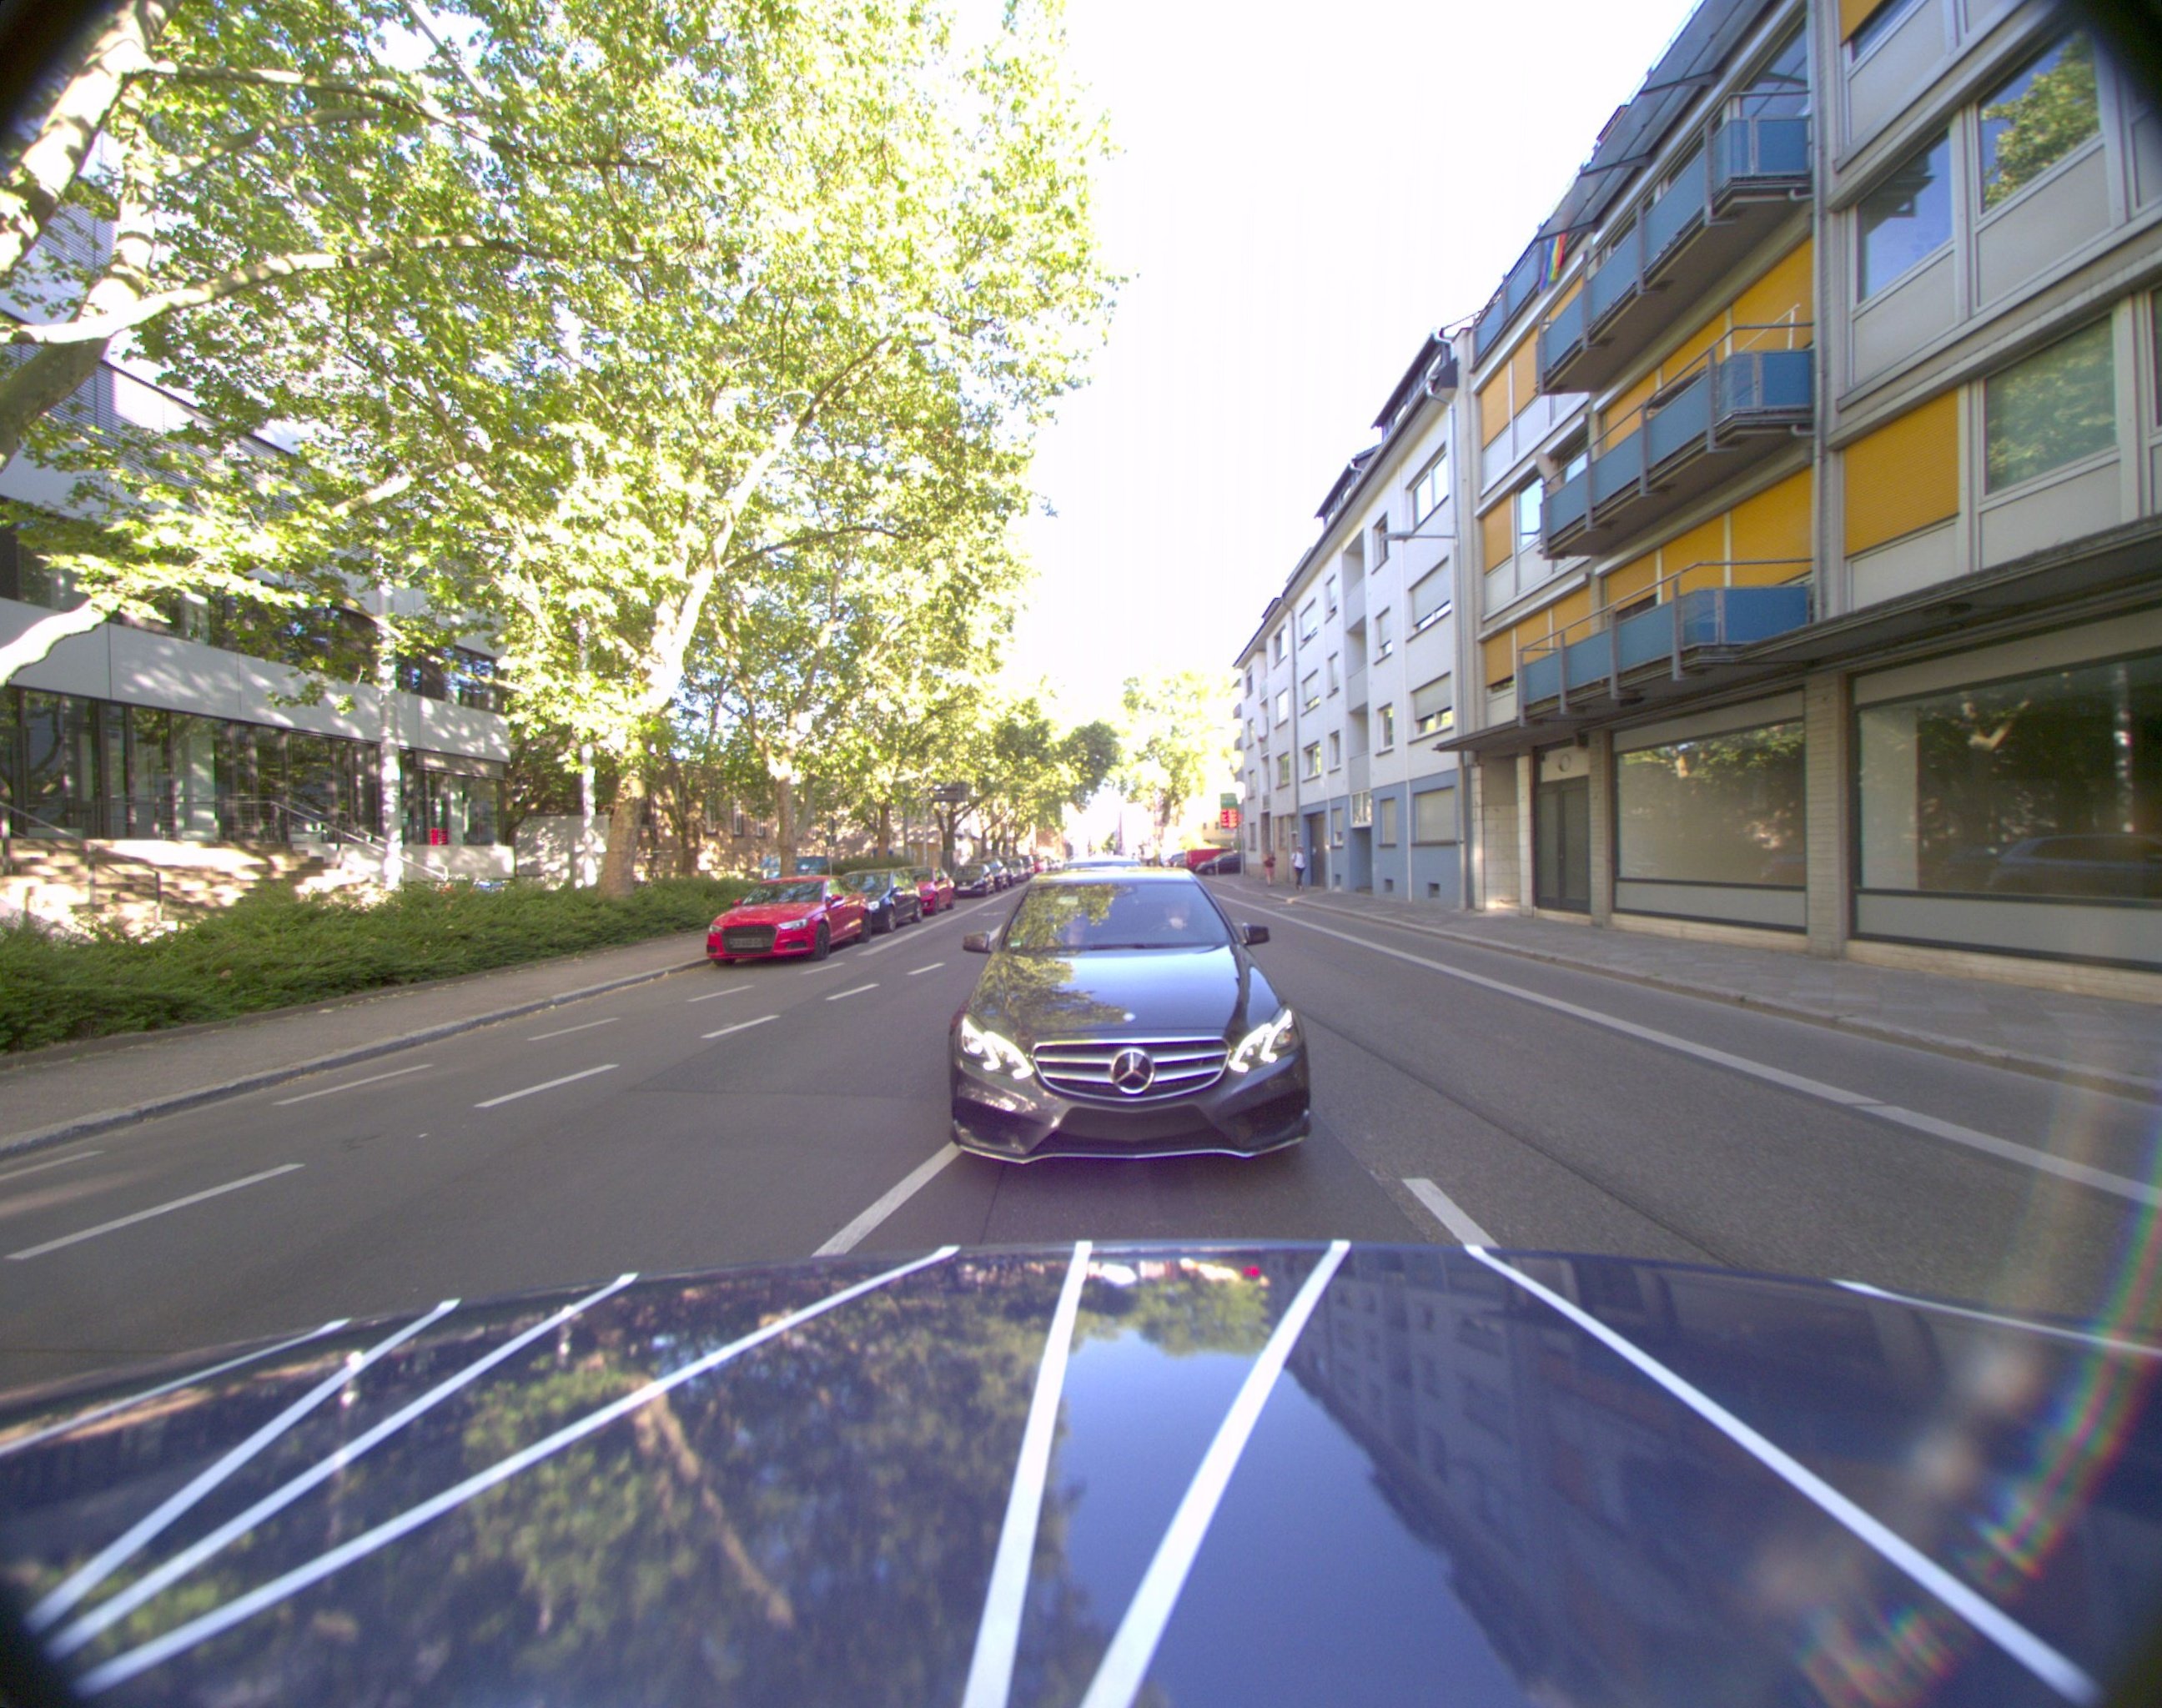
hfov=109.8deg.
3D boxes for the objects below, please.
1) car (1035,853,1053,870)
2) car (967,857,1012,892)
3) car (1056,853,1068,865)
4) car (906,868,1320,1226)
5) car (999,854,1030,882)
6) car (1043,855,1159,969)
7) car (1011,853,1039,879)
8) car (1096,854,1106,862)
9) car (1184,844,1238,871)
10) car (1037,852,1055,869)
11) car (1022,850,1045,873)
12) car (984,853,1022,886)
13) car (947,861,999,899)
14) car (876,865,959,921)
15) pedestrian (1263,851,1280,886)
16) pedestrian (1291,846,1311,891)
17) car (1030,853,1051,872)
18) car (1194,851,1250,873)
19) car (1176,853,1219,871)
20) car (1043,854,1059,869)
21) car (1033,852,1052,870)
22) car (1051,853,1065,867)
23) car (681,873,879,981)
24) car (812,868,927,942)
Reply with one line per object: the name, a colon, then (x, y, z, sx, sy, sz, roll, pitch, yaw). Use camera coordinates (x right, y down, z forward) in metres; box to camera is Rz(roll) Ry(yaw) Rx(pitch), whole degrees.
car: (-3.933, 0.766, 82.069, 1.635, 1.713, 3.673, -3, 0, 1)
car: (-4.525, 0.975, 38.057, 1.635, 1.578, 3.845, -3, 0, 1)
car: (-2.738, 0.723, 109.863, 1.635, 1.713, 3.673, -3, 0, 1)
car: (0.174, 0.919, 5.512, 1.804, 1.455, 4.125, -3, 0, 1)
car: (-4.411, 0.902, 50.715, 1.635, 1.644, 3.845, -3, 0, 1)
car: (0.326, 0.883, 13.559, 1.680, 1.622, 4.125, -3, 0, 1)
car: (-4.069, 0.834, 55.564, 1.635, 1.799, 3.673, -3, 0, 1)
car: (3.886, 0.756, 150.806, 1.853, 1.455, 4.099, -3, 0, 1)
car: (10.235, 0.264, 59.952, 3.927, 1.912, 1.636, -3, 0, 1)
car: (-3.945, 0.724, 86.129, 1.635, 1.713, 3.673, -3, 0, 1)
car: (-4.129, 0.646, 66.118, 1.635, 1.878, 3.673, -3, 0, 1)
car: (-4.498, 0.860, 44.222, 1.635, 1.795, 3.845, -3, 0, 1)
car: (-4.677, 1.098, 33.280, 1.635, 1.455, 3.740, -3, 0, 1)
car: (-4.997, 1.149, 23.685, 1.635, 1.455, 3.740, -3, 0, 1)
pedestrian: (8.527, 0.636, 34.036, 0.569, 1.509, 0.343, -3, 1, 1)
pedestrian: (8.585, 0.556, 29.647, 0.569, 1.716, 0.343, -3, 1, 1)
car: (-3.796, 0.782, 71.649, 1.635, 1.713, 3.673, -3, 0, 1)
car: (10.116, 0.561, 54.726, 3.670, 1.403, 1.636, -3, 0, 1)
car: (9.571, 0.642, 62.540, 3.325, 1.241, 1.295, -3, 0, 1)
car: (-3.629, 0.933, 92.543, 1.635, 1.713, 3.673, -3, 0, 1)
car: (-3.978, 0.722, 78.251, 1.635, 1.713, 3.673, -3, 0, 1)
car: (-3.038, 0.798, 102.823, 1.635, 1.713, 3.673, -3, 0, 1)
car: (-5.146, 1.166, 13.680, 1.804, 1.455, 4.125, -3, 0, 1)
car: (-4.995, 1.150, 18.494, 1.635, 1.455, 3.740, -3, 0, 1)
